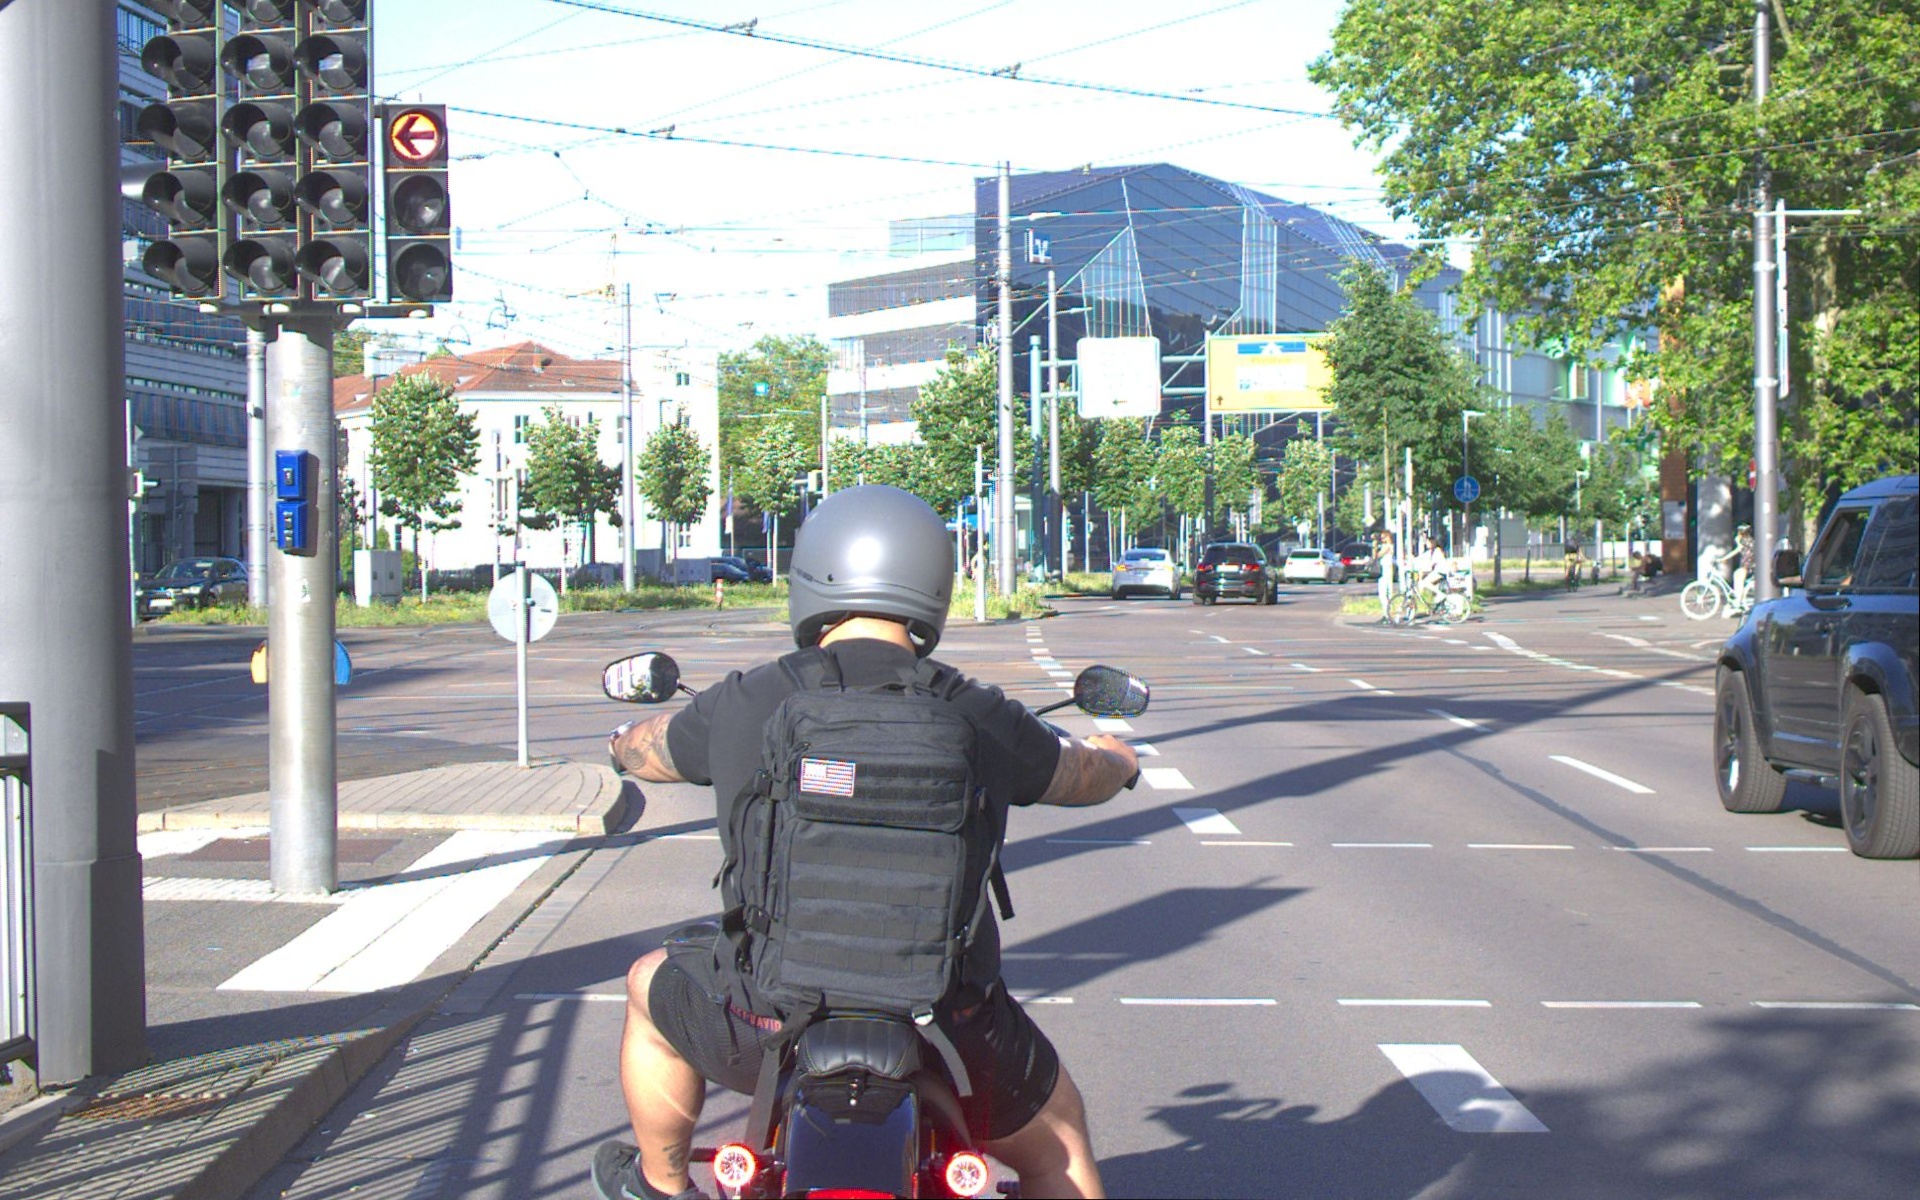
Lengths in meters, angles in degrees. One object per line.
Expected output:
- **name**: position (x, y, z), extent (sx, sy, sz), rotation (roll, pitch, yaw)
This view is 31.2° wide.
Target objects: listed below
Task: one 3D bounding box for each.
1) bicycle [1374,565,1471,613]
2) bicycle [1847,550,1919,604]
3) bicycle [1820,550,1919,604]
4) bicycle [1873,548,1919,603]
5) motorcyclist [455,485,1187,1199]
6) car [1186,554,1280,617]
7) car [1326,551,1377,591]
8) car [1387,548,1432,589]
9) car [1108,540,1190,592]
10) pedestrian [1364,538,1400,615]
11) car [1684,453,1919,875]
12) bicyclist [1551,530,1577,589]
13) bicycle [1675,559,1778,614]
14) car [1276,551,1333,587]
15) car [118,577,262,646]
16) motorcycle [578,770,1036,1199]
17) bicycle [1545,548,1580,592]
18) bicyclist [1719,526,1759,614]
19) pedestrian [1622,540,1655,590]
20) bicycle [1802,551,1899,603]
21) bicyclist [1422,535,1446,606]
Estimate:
- **bicycle**: position (9.024, -0.215, 67.058), extent (1.825, 0.922, 0.358), rotation (1, 0, -6)
- **bicycle**: position (18.358, -0.442, 67.317), extent (1.880, 1.043, 0.360), rotation (1, 0, -1)
- **bicycle**: position (18.378, -0.460, 69.493), extent (1.880, 1.043, 0.360), rotation (1, 1, -1)
- **bicycle**: position (18.449, -0.458, 65.721), extent (1.880, 1.043, 0.360), rotation (1, 0, -1)
- **motorcyclist**: position (-0.199, 0.626, 5.311), extent (1.030, 1.588, 0.873), rotation (0, 1, -1)
- **car**: position (7.225, -0.404, 90.695), extent (1.804, 1.590, 4.450), rotation (0, 1, 14)
- **car**: position (16.855, -1.248, 147.885), extent (1.804, 1.672, 4.039), rotation (1, 0, 11)
- **car**: position (20.441, -1.425, 156.189), extent (1.730, 1.831, 3.573), rotation (1, 0, 12)
- **car**: position (5.373, -0.980, 97.385), extent (1.804, 1.425, 4.451), rotation (0, 1, 10)
- **pedestrian**: position (8.510, -0.471, 69.337), extent (0.587, 1.551, 0.489), rotation (1, 0, -8)
- **car**: position (5.360, 0.273, 17.743), extent (2.159, 1.908, 4.473), rotation (1, 1, -2)
- **bicyclist**: position (18.916, -1.266, 107.736), extent (0.697, 1.802, 0.728), rotation (1, 0, 4)
- **bicycle**: position (14.549, -0.252, 65.243), extent (1.872, 1.040, 0.536), rotation (0, 0, 19)
- **car**: position (13.932, -1.271, 138.999), extent (1.804, 1.425, 4.451), rotation (0, 1, 12)
- **car**: position (-17.581, 0.251, 78.675), extent (1.750, 1.519, 3.998), rotation (1, 0, 11)
- **motorcycle**: position (-0.220, 0.879, 5.666), extent (0.600, 1.032, 2.234), rotation (1, 1, -1)
- **bicycle**: position (18.944, -0.926, 108.110), extent (0.726, 1.362, 2.917), rotation (1, 0, 3)
- **bicyclist**: position (14.764, -0.568, 65.172), extent (0.688, 1.667, 0.540), rotation (0, 0, 19)
- **pedestrian**: position (17.909, -0.917, 90.742), extent (0.819, 1.309, 0.637), rotation (1, 0, 9)
- **bicycle**: position (18.302, -0.477, 70.643), extent (1.880, 1.043, 0.360), rotation (1, 1, -1)
- **bicyclist**: position (9.248, -0.571, 67.089), extent (0.380, 1.368, 0.345), rotation (1, 0, -6)
